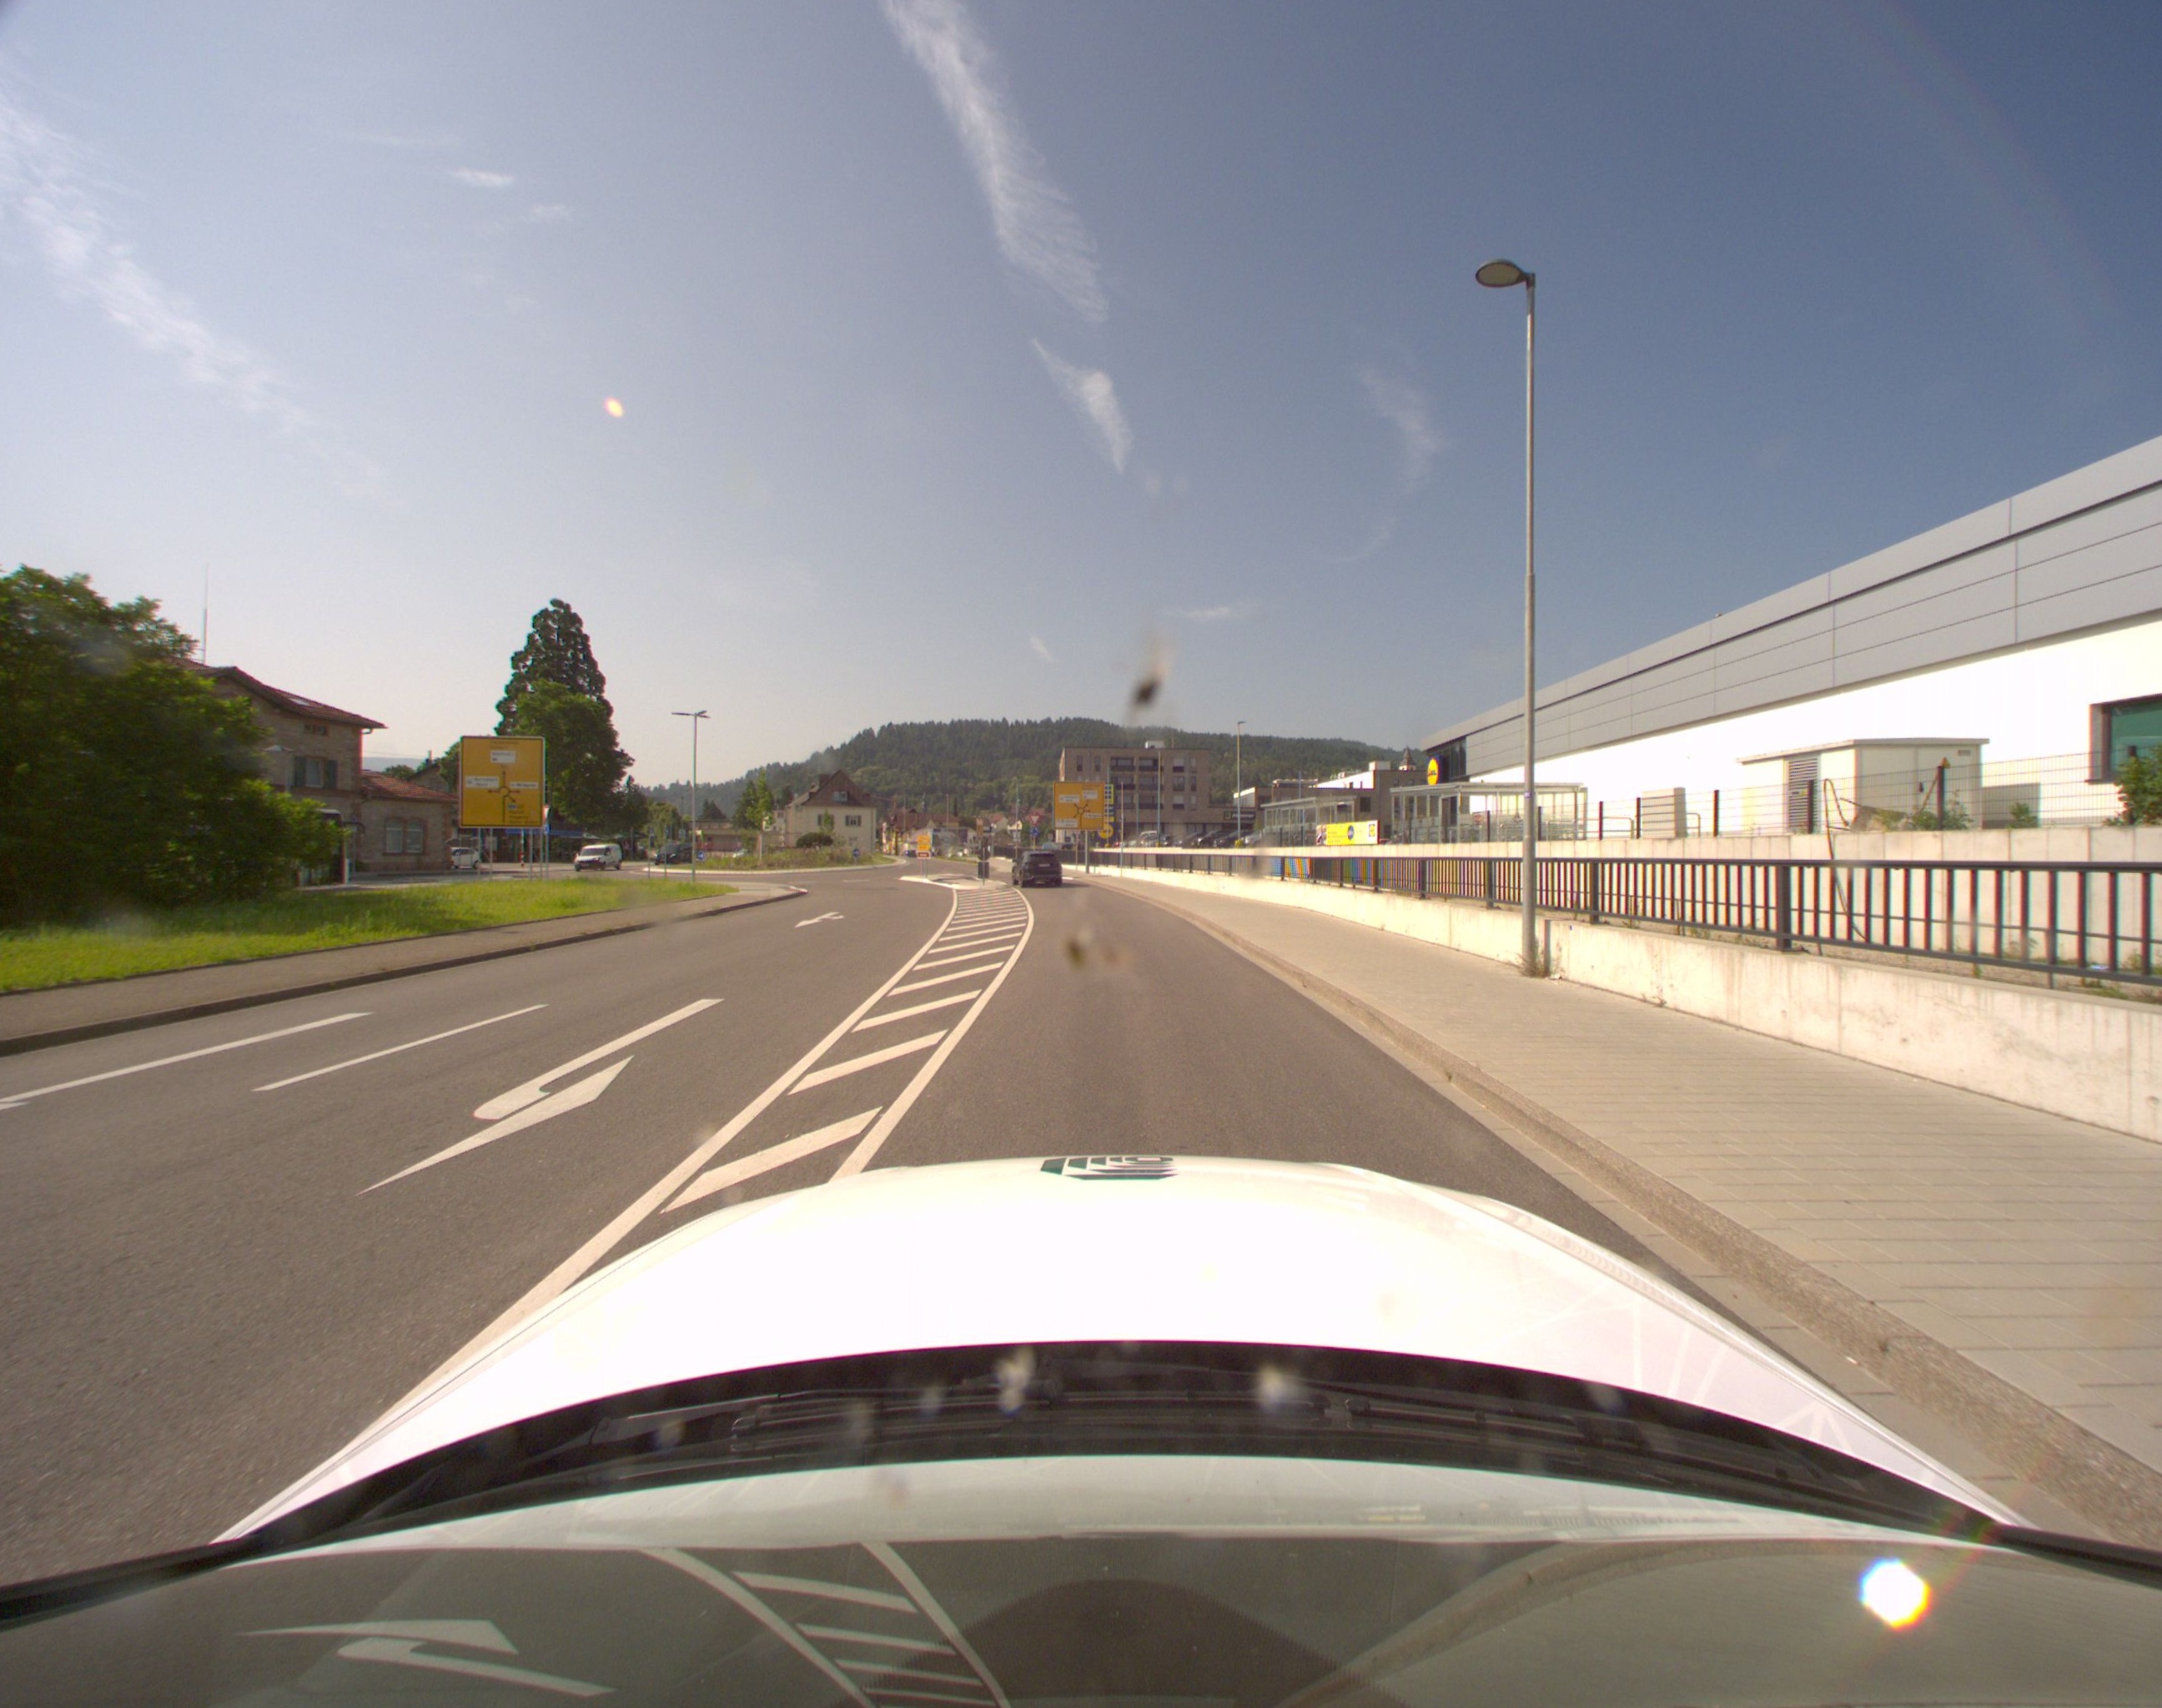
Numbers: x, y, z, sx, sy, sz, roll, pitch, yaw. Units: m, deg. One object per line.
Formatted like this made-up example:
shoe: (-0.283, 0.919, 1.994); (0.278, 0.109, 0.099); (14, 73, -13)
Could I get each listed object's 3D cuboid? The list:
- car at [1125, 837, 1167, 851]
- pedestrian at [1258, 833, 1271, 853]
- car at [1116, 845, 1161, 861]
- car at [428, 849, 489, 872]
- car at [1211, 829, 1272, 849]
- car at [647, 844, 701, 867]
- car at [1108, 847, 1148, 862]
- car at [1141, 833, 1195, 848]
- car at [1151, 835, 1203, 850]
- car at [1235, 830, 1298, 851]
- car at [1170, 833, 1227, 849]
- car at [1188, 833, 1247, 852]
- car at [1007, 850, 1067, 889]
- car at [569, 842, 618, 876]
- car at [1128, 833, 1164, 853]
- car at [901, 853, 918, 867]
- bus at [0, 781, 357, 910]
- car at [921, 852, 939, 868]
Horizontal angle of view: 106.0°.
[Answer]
car: (6.007, -0.933, 75.589); (3.564, 1.199, 1.704); (0, 0, -17)
pedestrian: (11.963, -0.723, 53.162); (0.548, 1.312, 0.653); (0, -1, -15)
car: (5.516, -0.085, 78.270); (4.063, 1.487, 1.708); (0, 0, -15)
car: (-43.478, 0.486, 56.967); (1.382, 1.450, 3.539); (0, -2, 3)
car: (11.408, -1.032, 57.754); (4.072, 1.404, 1.477); (0, 0, -18)
car: (-35.409, 0.133, 71.046); (1.830, 1.946, 4.890); (-1, 0, 6)
car: (4.645, 0.029, 80.944); (3.564, 1.430, 1.701); (0, 0, -17)
car: (7.460, -1.120, 70.028); (4.289, 1.245, 1.654); (0, 0, -18)
car: (7.946, -0.945, 67.549); (3.977, 1.245, 1.720); (0, 0, -18)
car: (12.430, -0.875, 54.589); (3.815, 1.364, 1.671); (0, 0, -18)
car: (9.338, -1.007, 64.695); (4.224, 1.245, 1.734); (0, 0, -18)
car: (10.231, -0.874, 61.165); (4.015, 1.404, 1.715); (0, 0, -18)
car: (-2.126, 0.690, 38.076); (1.886, 1.684, 3.976); (-1, 0, -18)
car: (-33.993, 0.313, 56.916); (1.810, 2.077, 4.581); (1, 3, -16)
car: (7.324, -1.193, 91.432); (3.969, 2.136, 2.002); (-1, -1, 4)
car: (-25.799, 0.864, 122.388); (2.000, 2.014, 3.972); (-1, 0, -20)
bus: (-27.868, -0.253, 24.019); (3.058, 3.123, 11.708); (0, 0, -3)
car: (-19.979, 0.799, 107.797); (1.990, 2.014, 3.993); (-1, 0, -5)
